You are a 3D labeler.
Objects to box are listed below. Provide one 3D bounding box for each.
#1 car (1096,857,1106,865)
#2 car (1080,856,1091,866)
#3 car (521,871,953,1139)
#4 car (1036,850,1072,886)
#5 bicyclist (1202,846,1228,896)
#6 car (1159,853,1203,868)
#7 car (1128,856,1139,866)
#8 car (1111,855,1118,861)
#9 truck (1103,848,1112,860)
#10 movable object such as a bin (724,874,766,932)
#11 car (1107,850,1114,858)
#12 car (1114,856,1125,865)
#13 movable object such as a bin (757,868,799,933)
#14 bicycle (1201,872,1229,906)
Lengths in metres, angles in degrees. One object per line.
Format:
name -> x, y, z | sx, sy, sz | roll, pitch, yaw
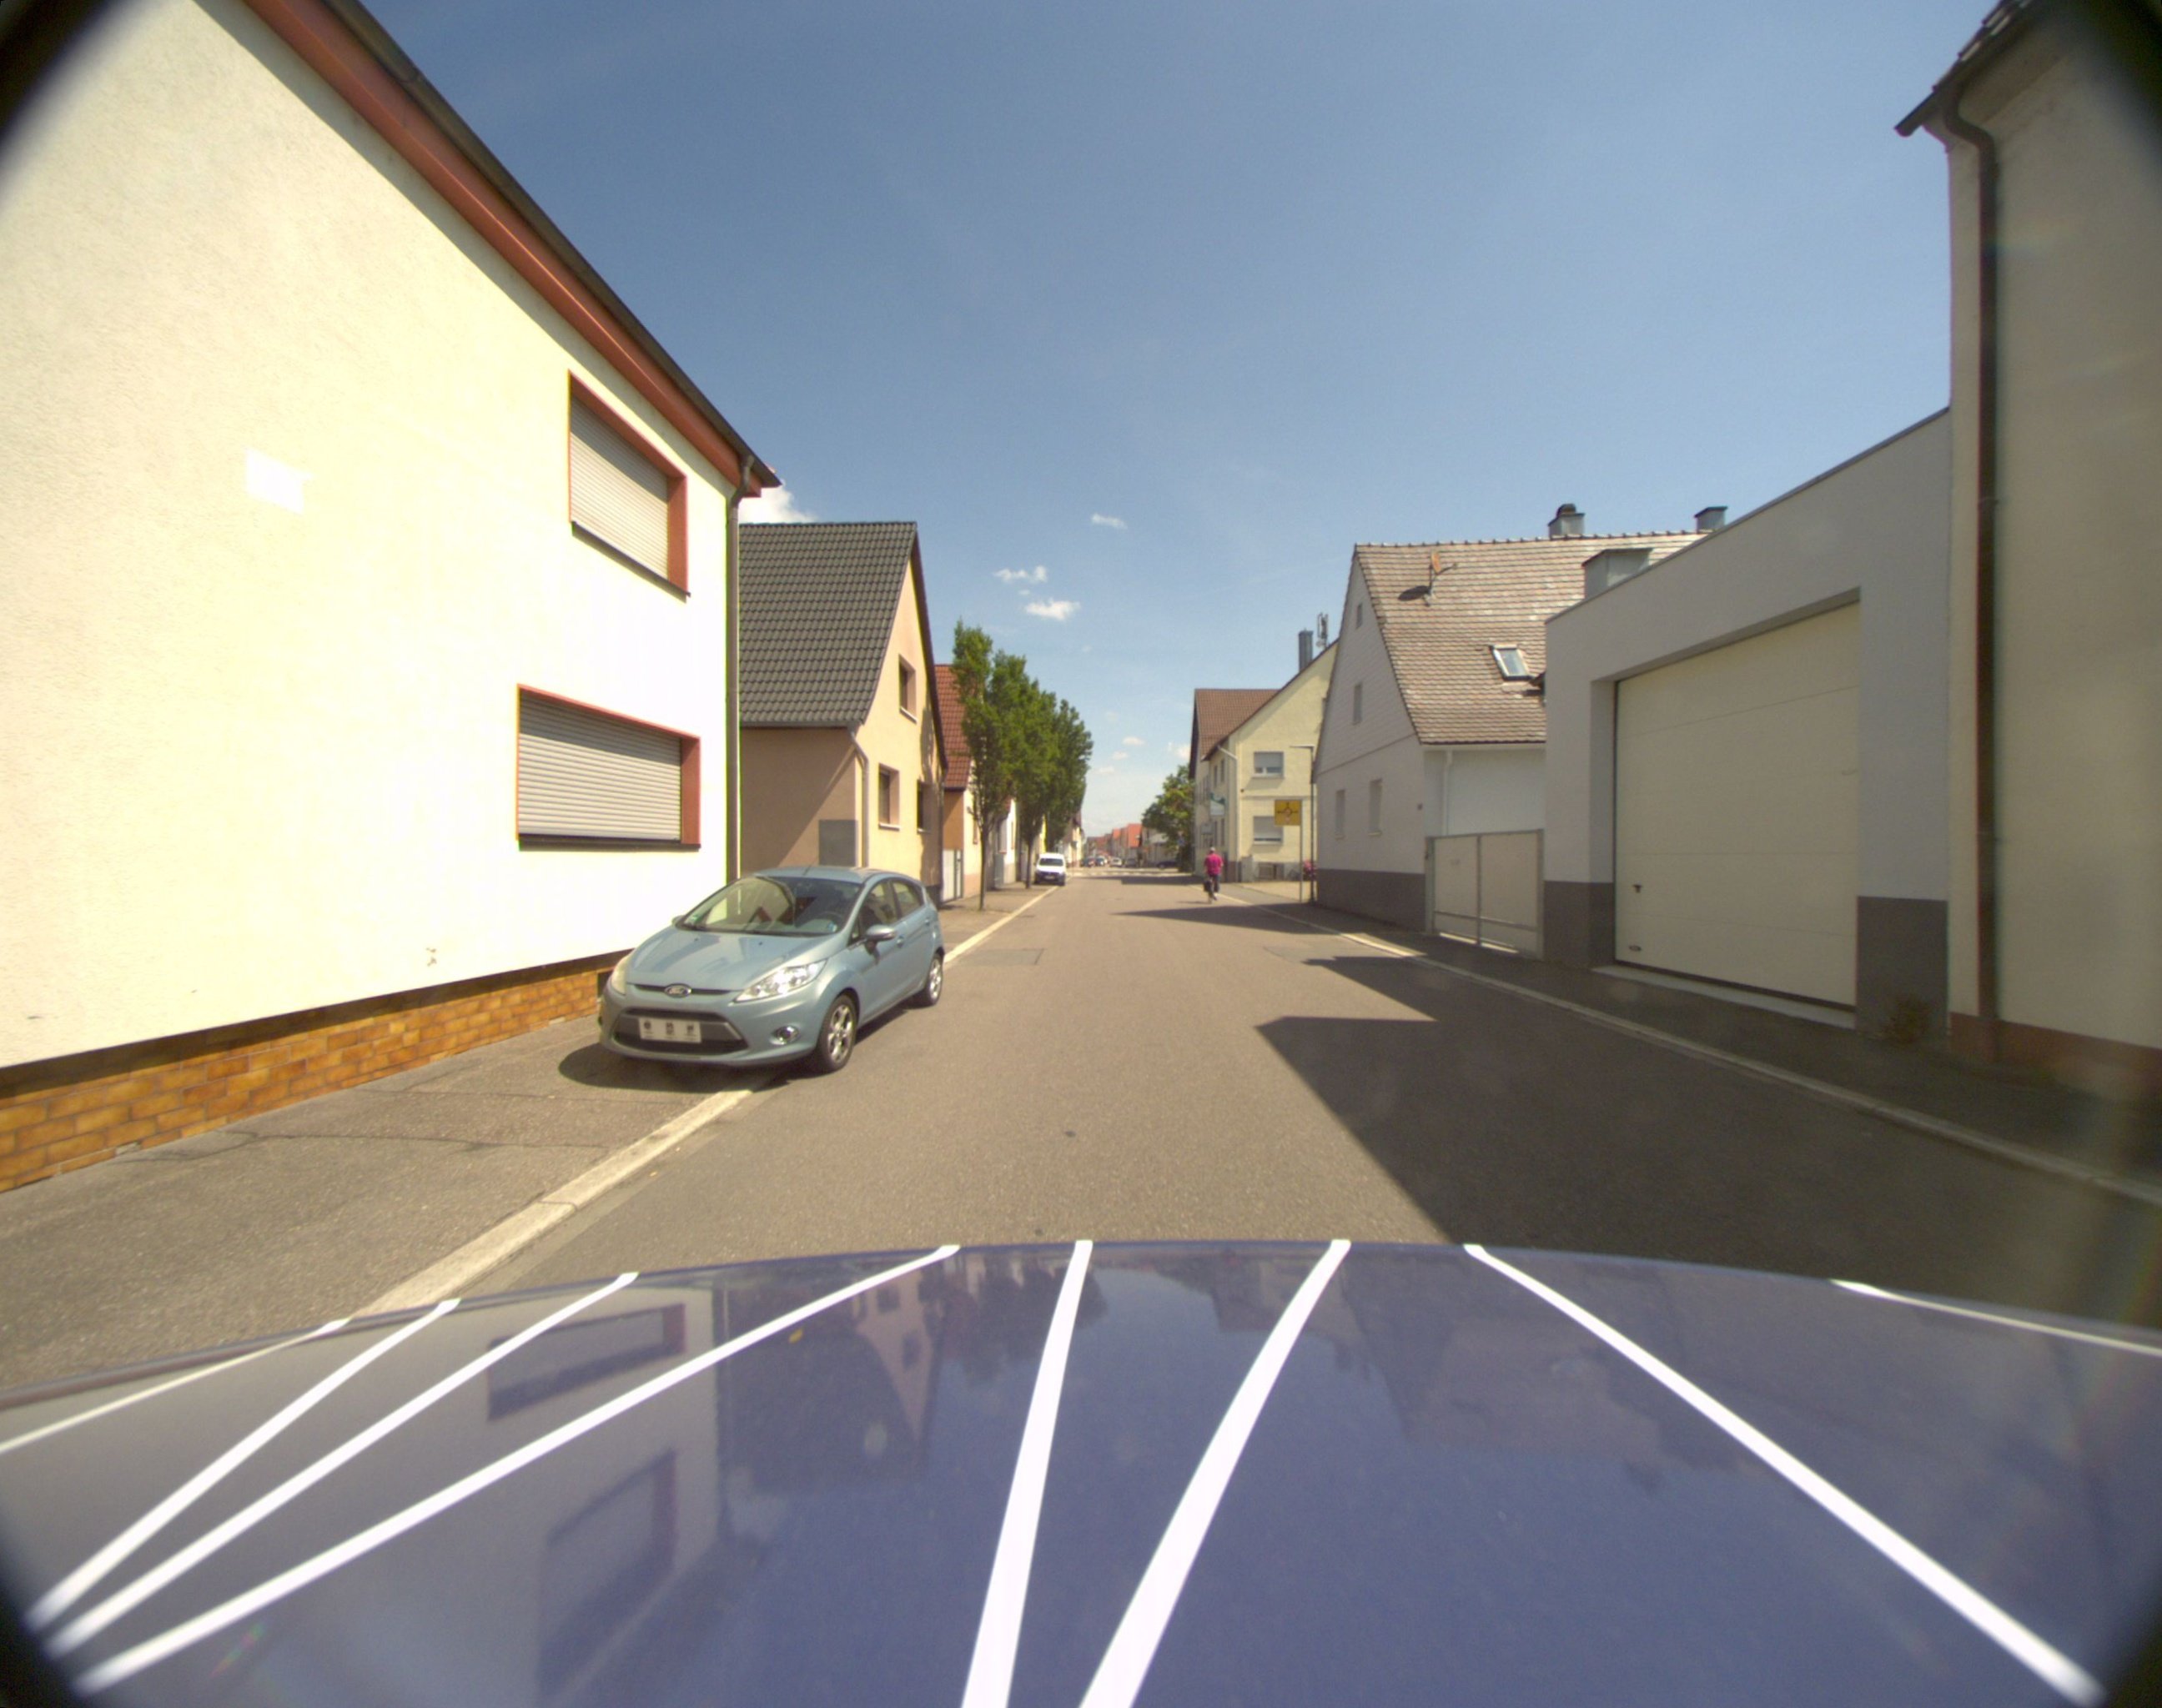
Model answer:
car -> 3.446, 1.199, 131.211 | 1.598, 1.385, 4.168 | -1, 0, 1
car -> 0.674, 1.068, 111.572 | 1.598, 1.385, 4.171 | -1, -2, 2
car -> -2.495, 0.971, 6.617 | 1.725, 1.473, 3.751 | 3, 1, 5
car -> -1.480, 0.744, 43.288 | 1.692, 1.831, 4.764 | 2, 0, 2
bicyclist -> 4.482, 0.559, 25.503 | 0.748, 1.627, 0.957 | -1, 1, 5
car -> 11.472, 0.701, 87.190 | 4.834, 1.636, 2.002 | -1, 0, 12
car -> 8.385, 1.141, 121.661 | 1.726, 1.385, 4.171 | -1, -2, 3
car -> 8.641, 0.978, 195.860 | 1.726, 1.385, 4.171 | -1, -2, 3
truck -> 7.933, -0.099, 228.367 | 1.999, 3.420, 7.074 | -2, 1, -1
movable object such as a bin -> -6.230, 0.895, 14.117 | 0.493, 1.023, 0.671 | 1, 1, -1
car -> 8.391, 0.071, 214.772 | 1.727, 2.097, 4.168 | -1, 0, 0
car -> 6.031, 1.050, 119.027 | 1.598, 1.385, 4.168 | -1, 0, 1
movable object such as a bin -> -5.596, 0.847, 14.062 | 0.493, 1.143, 0.698 | 1, 1, -1
bicycle -> 4.497, 1.148, 25.571 | 0.744, 1.041, 1.941 | 1, 0, 5
